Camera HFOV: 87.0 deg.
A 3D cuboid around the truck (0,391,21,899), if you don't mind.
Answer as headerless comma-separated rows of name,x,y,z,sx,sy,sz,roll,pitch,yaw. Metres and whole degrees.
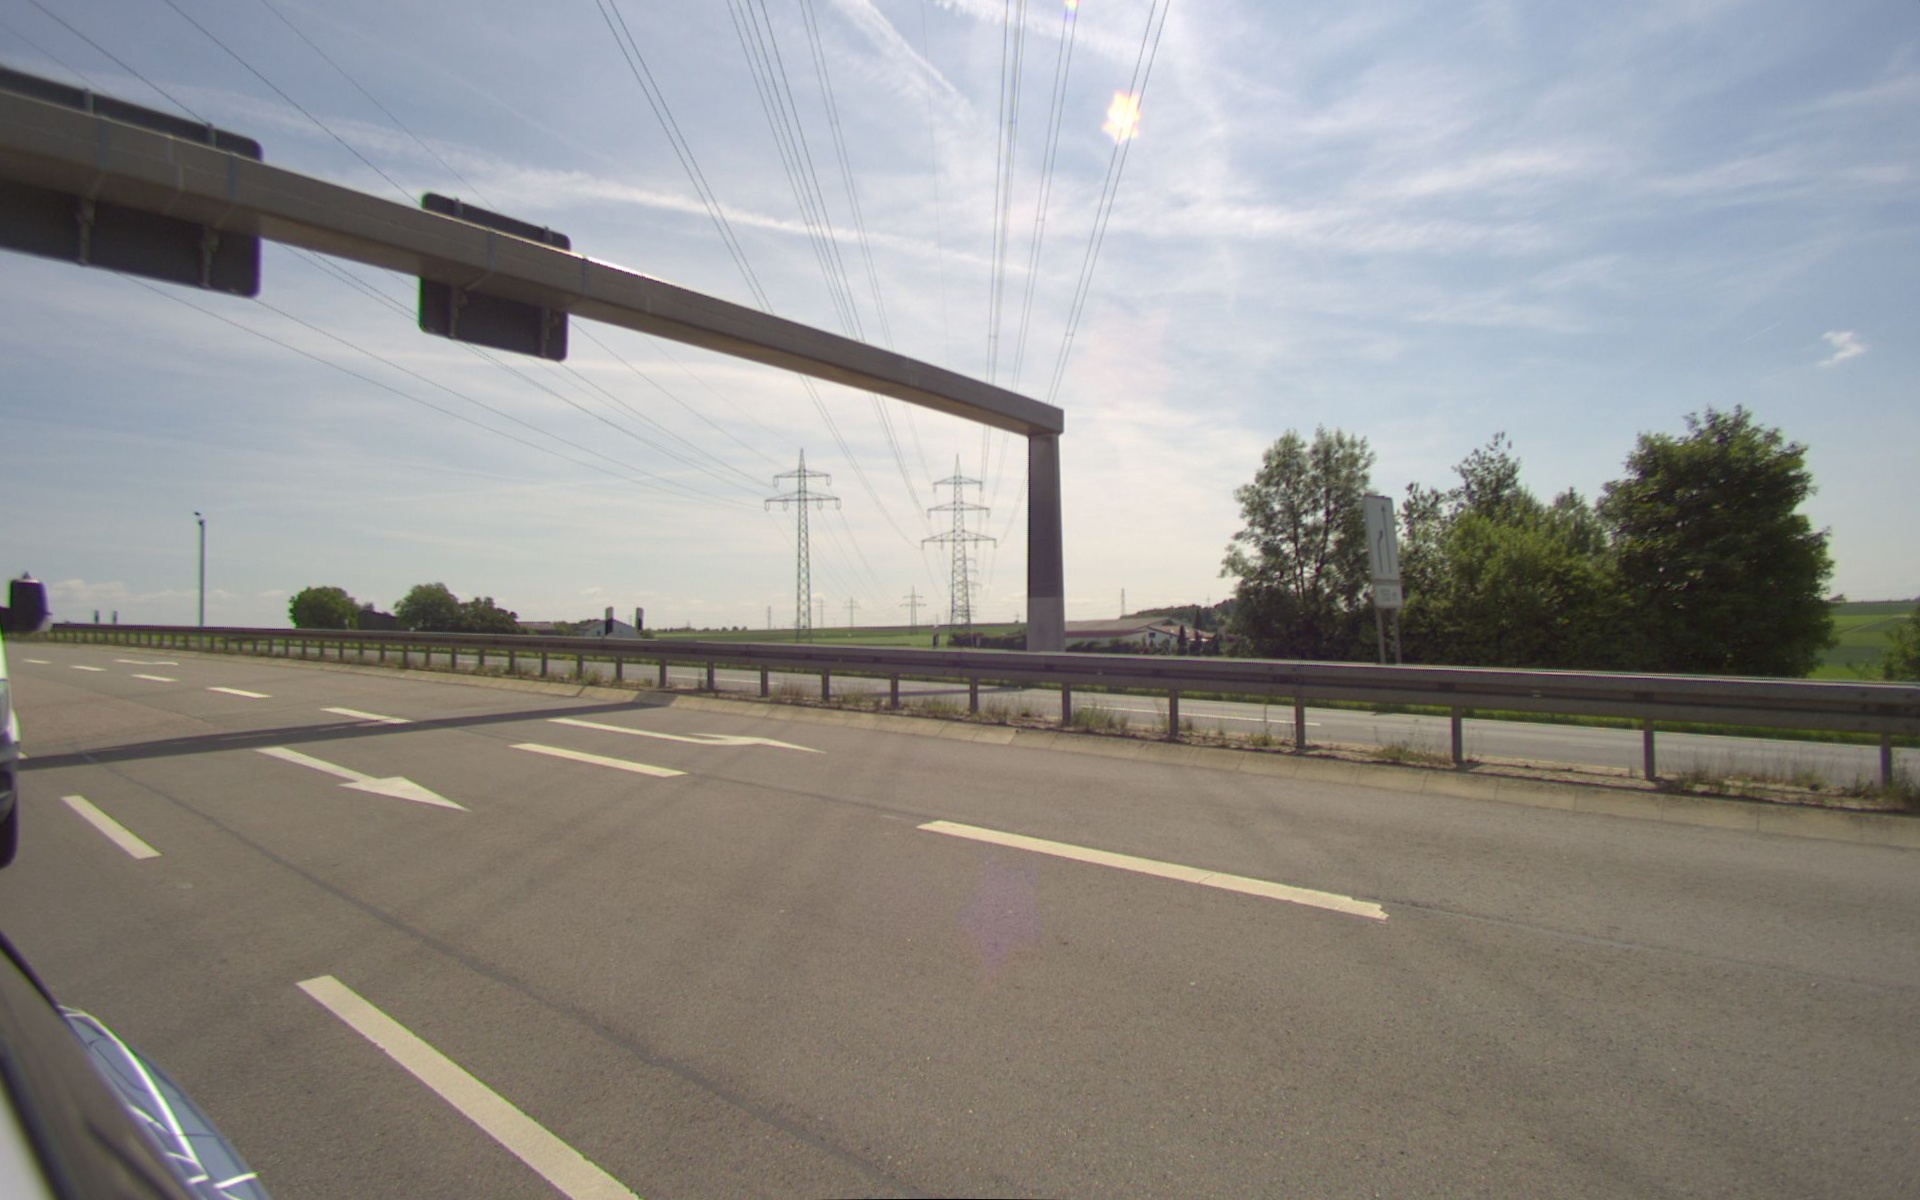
truck,-7.307,0.248,6.130,5.104,2.552,1.972,-1,-1,42
